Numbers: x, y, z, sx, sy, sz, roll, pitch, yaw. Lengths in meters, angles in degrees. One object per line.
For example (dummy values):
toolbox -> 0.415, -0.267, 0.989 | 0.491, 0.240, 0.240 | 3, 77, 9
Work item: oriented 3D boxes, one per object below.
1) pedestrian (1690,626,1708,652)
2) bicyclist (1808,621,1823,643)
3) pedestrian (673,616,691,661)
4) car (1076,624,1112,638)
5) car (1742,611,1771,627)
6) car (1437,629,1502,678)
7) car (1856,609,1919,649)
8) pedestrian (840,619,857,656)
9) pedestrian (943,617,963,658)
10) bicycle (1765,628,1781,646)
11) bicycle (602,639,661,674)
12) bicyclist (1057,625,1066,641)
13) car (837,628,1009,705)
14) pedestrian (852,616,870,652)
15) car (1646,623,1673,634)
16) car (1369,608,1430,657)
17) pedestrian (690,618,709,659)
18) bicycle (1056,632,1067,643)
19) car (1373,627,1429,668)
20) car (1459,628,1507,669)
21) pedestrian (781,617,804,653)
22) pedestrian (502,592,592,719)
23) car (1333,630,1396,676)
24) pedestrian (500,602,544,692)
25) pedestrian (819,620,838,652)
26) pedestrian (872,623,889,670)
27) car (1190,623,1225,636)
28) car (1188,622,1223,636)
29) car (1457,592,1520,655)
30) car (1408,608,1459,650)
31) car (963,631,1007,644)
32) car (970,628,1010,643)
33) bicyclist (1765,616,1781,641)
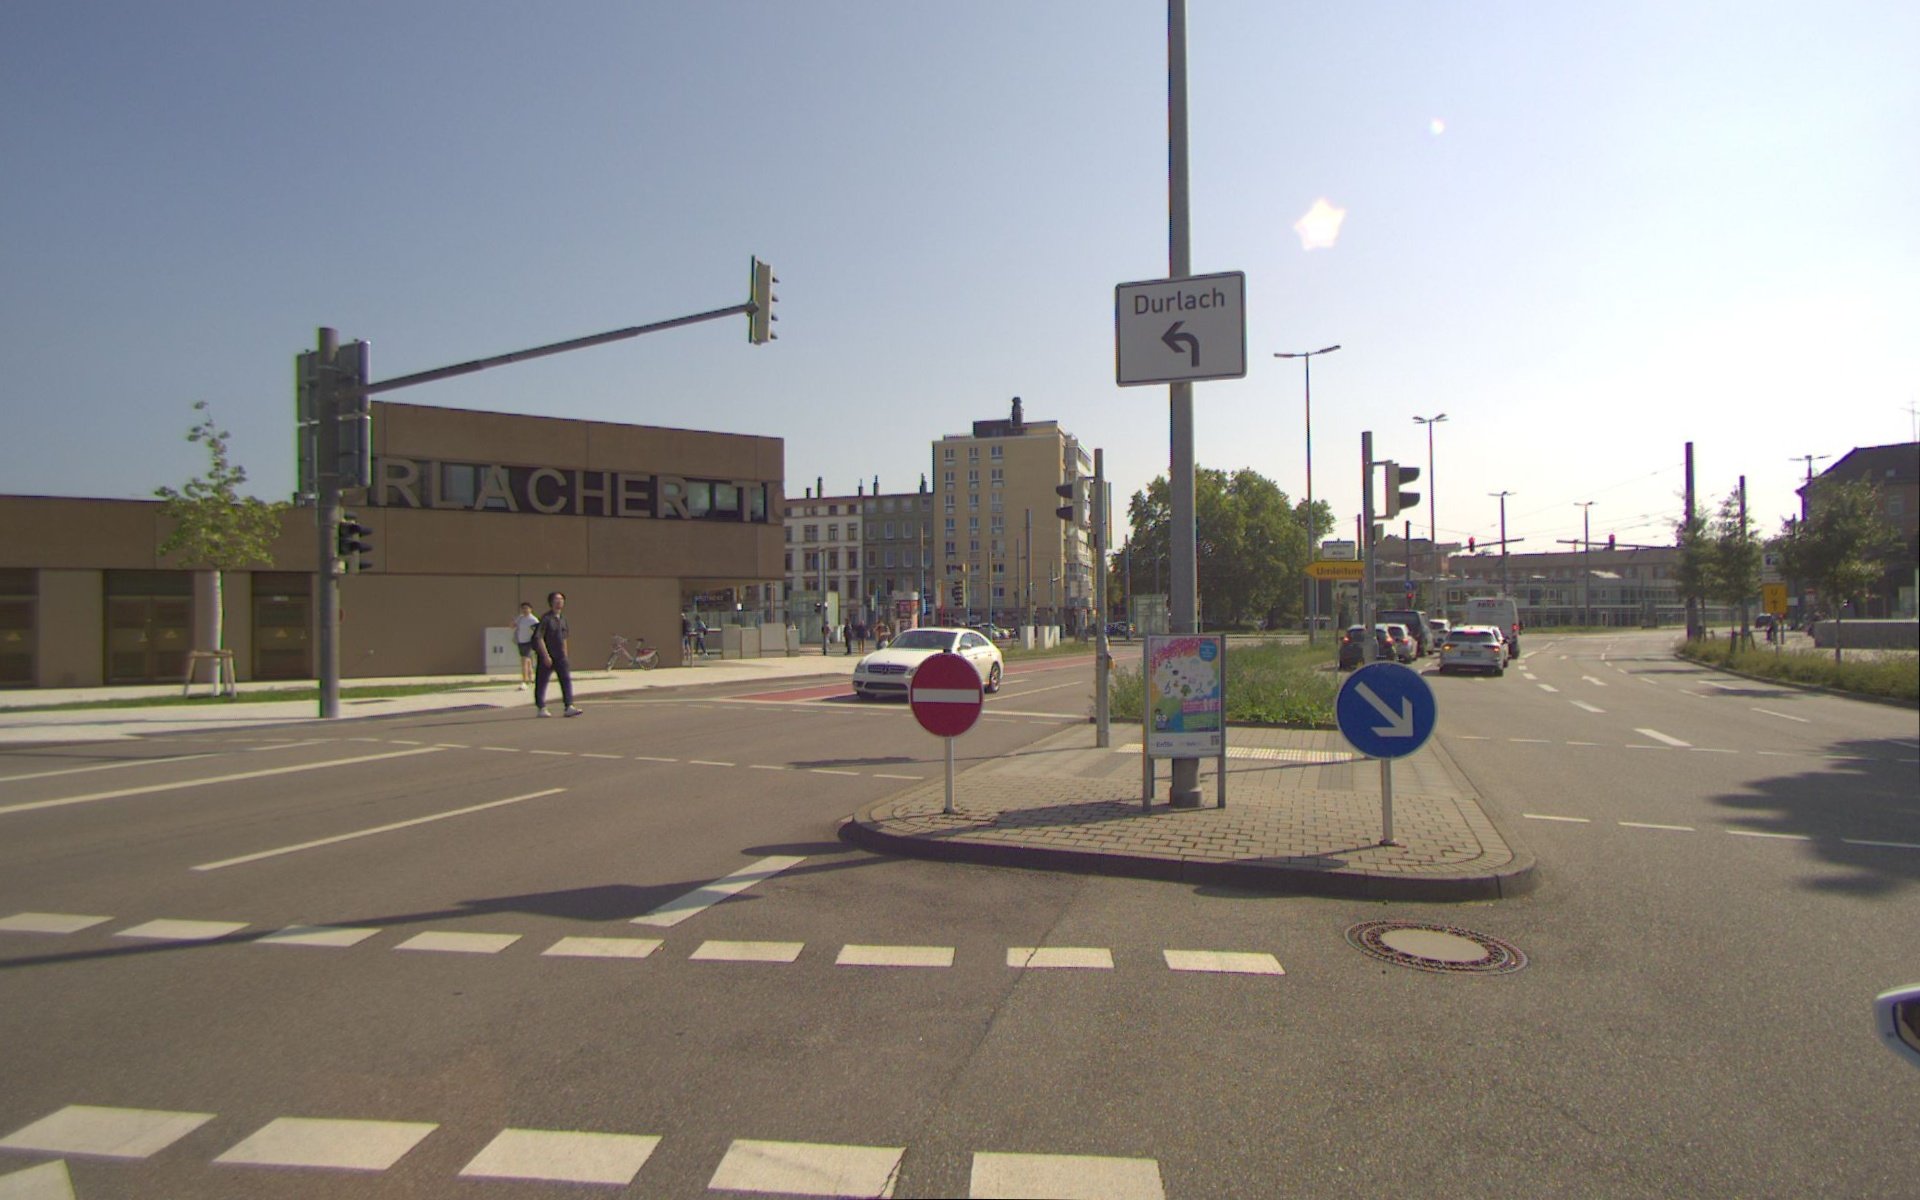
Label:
pedestrian -> 39.160, 2.059, 53.228 | 0.626, 1.380, 0.633 | -1, -1, 25
bicyclist -> 53.832, 2.021, 63.220 | 0.698, 1.412, 0.825 | -1, -2, 42
pedestrian -> -11.534, 1.592, 41.716 | 0.387, 1.844, 0.554 | 0, 2, 41
car -> 15.596, 3.588, 116.655 | 3.920, 1.579, 1.869 | -1, 1, 17
car -> 107.014, 2.529, 134.959 | 4.746, 2.040, 2.389 | 1, -2, -44
car -> 15.657, 1.607, 30.768 | 1.660, 1.405, 3.629 | -1, -2, 29
car -> 50.286, 1.510, 53.174 | 3.919, 2.041, 1.754 | -1, 1, 10
pedestrian -> -4.982, 1.681, 44.900 | 0.490, 1.601, 0.507 | 0, 1, 31
pedestrian -> -0.309, 1.677, 45.171 | 0.831, 1.802, 0.877 | -1, 1, 3
bicycle -> 51.100, 2.329, 63.134 | 0.698, 1.075, 1.971 | -2, -2, 42
bicycle -> -9.989, 1.704, 30.536 | 1.594, 0.968, 0.655 | 0, 0, -32
bicyclist -> 9.046, 2.941, 89.418 | 0.713, 1.453, 0.690 | 0, -1, 12
car -> -0.601, 1.290, 20.730 | 1.812, 1.379, 4.819 | -1, -2, 21
pedestrian -> -5.241, 1.787, 53.169 | 0.866, 1.844, 0.894 | -1, 1, -12
car -> 97.798, 3.997, 140.354 | 3.964, 1.461, 1.979 | 1, -2, -38
car -> 19.574, 1.428, 44.612 | 1.994, 2.034, 4.675 | -1, -2, 30
pedestrian -> -11.300, 1.665, 43.652 | 0.602, 1.718, 0.527 | -2, 2, -40
bicycle -> 9.032, 3.343, 89.357 | 0.715, 0.997, 1.733 | 0, -2, 11
car -> 16.751, 1.744, 38.077 | 1.468, 1.434, 3.640 | -1, -1, 31
car -> 19.019, 1.738, 36.476 | 1.467, 1.421, 3.936 | -1, -2, 29
pedestrian -> -9.624, 1.996, 57.775 | 0.942, 2.041, 1.022 | -1, 1, 16
pedestrian -> -6.287, 0.831, 15.318 | 1.061, 1.864, 0.730 | -1, -1, 21
car -> 13.254, 1.689, 32.767 | 1.675, 1.386, 3.960 | 0, -2, 25
pedestrian -> -9.259, 0.987, 21.246 | 0.682, 1.857, 0.569 | -1, -1, 29
pedestrian -> -7.776, 2.114, 59.292 | 0.819, 1.843, 0.779 | 0, -3, 16
pedestrian -> -3.076, 1.773, 38.827 | 0.666, 1.783, 0.878 | 0, -1, -5
car -> 30.330, 3.619, 123.060 | 3.921, 1.639, 1.813 | -1, -2, 20
car -> 29.504, 3.508, 120.626 | 3.921, 1.639, 1.813 | -1, -2, 20
car -> 23.199, 1.045, 44.016 | 2.157, 2.583, 4.674 | -1, -2, 31
car -> 24.082, 1.485, 50.989 | 1.994, 2.034, 4.676 | -1, -2, 29
car -> 2.340, 3.504, 94.352 | 3.766, 1.195, 1.577 | -1, -4, 19
car -> 2.905, 3.422, 97.319 | 3.674, 1.411, 1.588 | -1, -1, 16
bicyclist -> 51.102, 1.812, 63.158 | 0.705, 1.550, 0.802 | -2, -2, 42
